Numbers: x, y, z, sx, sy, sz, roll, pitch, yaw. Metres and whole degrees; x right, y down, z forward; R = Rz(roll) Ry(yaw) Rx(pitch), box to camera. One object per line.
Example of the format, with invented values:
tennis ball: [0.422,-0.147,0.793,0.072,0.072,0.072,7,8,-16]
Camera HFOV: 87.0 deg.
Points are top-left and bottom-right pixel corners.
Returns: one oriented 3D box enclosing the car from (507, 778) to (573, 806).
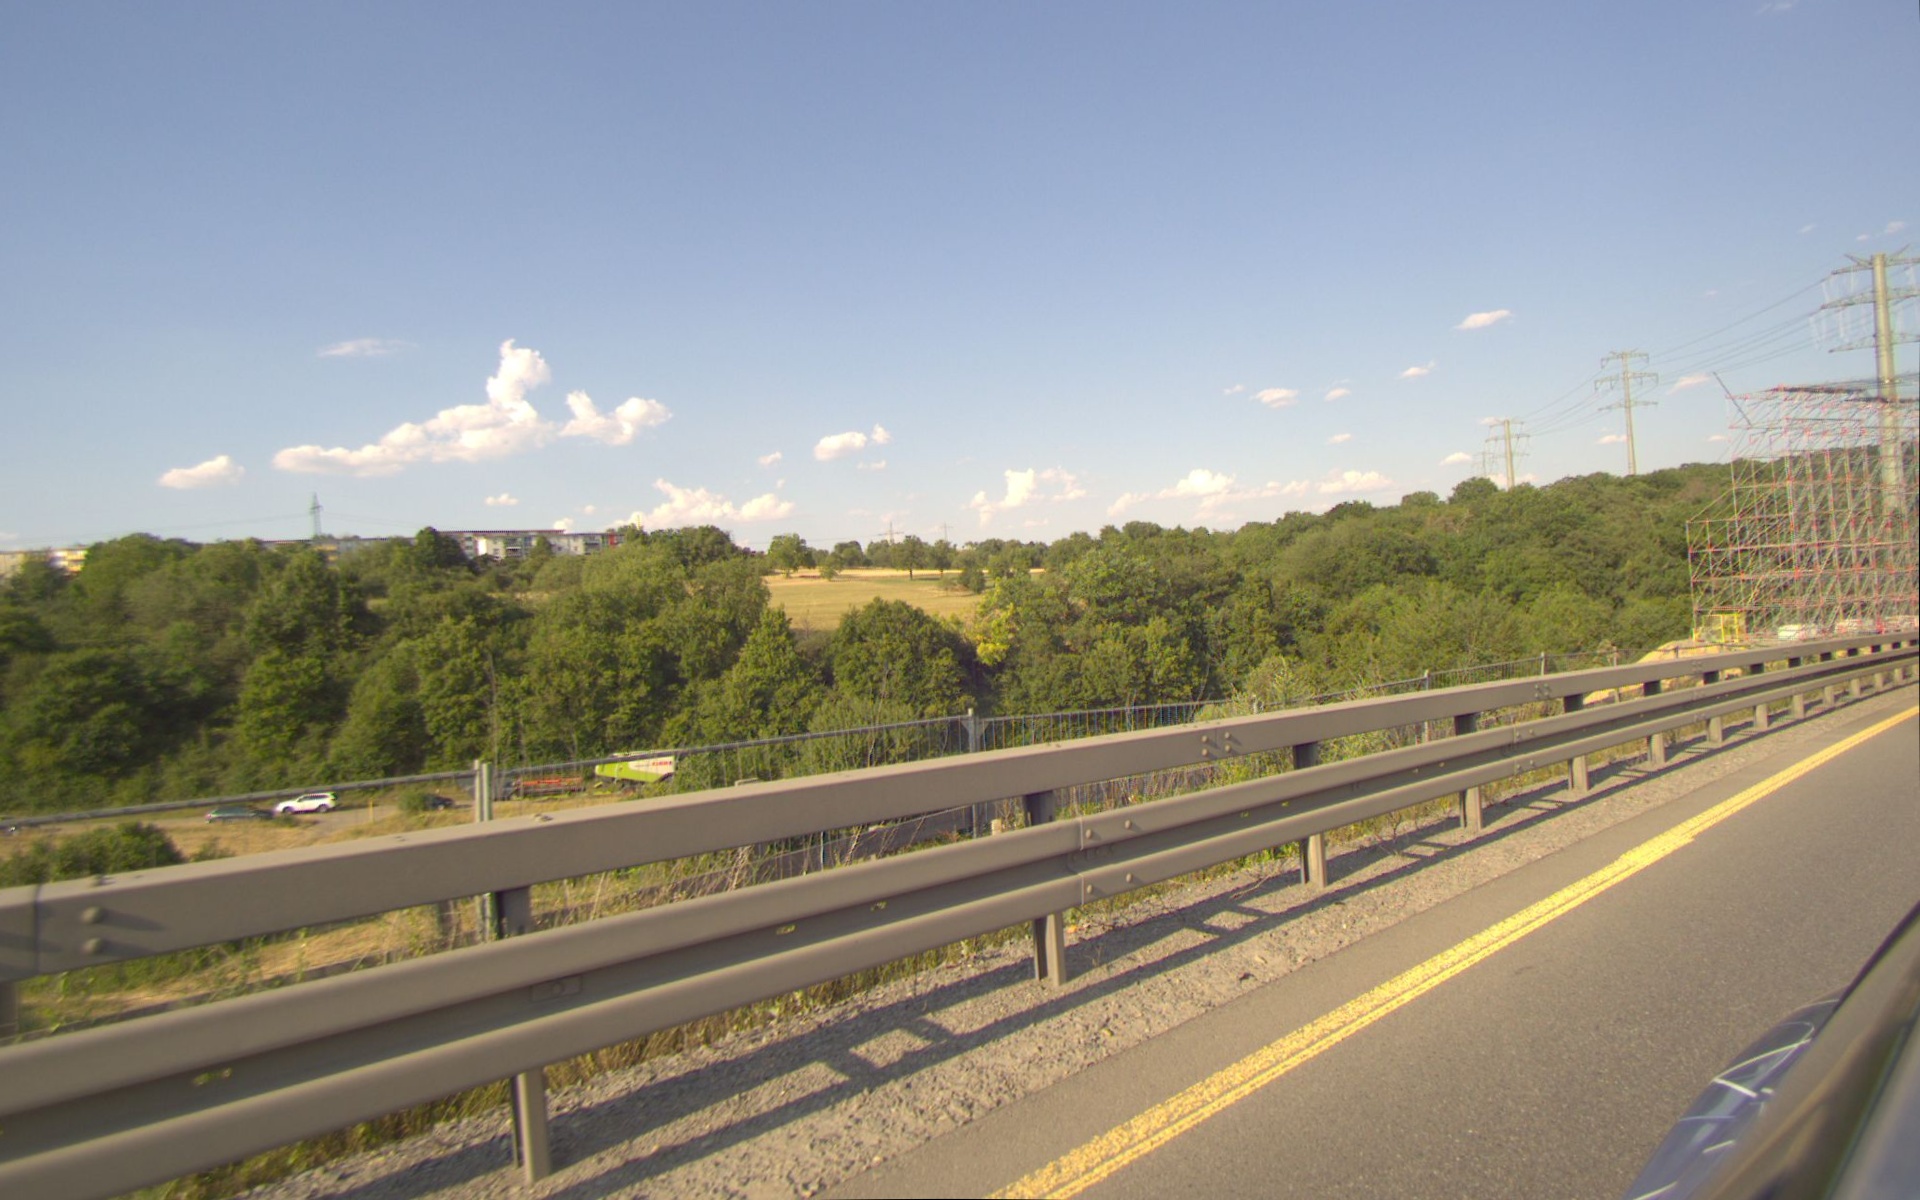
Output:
car: [-36.181,16.561,87.278,5.023,1.858,1.711,0,1,-13]

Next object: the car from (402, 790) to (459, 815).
car: [-44.831,17.166,85.770,4.020,1.573,1.686,0,1,-13]

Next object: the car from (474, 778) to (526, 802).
car: [-40.699,16.814,89.575,4.019,1.573,1.686,0,1,-18]

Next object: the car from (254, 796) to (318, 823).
car: [-54.846,17.025,82.388,4.019,1.573,1.686,0,1,-18]

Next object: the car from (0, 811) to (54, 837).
car: [-75.691,18.030,81.325,4.019,1.573,1.686,0,1,-15]
